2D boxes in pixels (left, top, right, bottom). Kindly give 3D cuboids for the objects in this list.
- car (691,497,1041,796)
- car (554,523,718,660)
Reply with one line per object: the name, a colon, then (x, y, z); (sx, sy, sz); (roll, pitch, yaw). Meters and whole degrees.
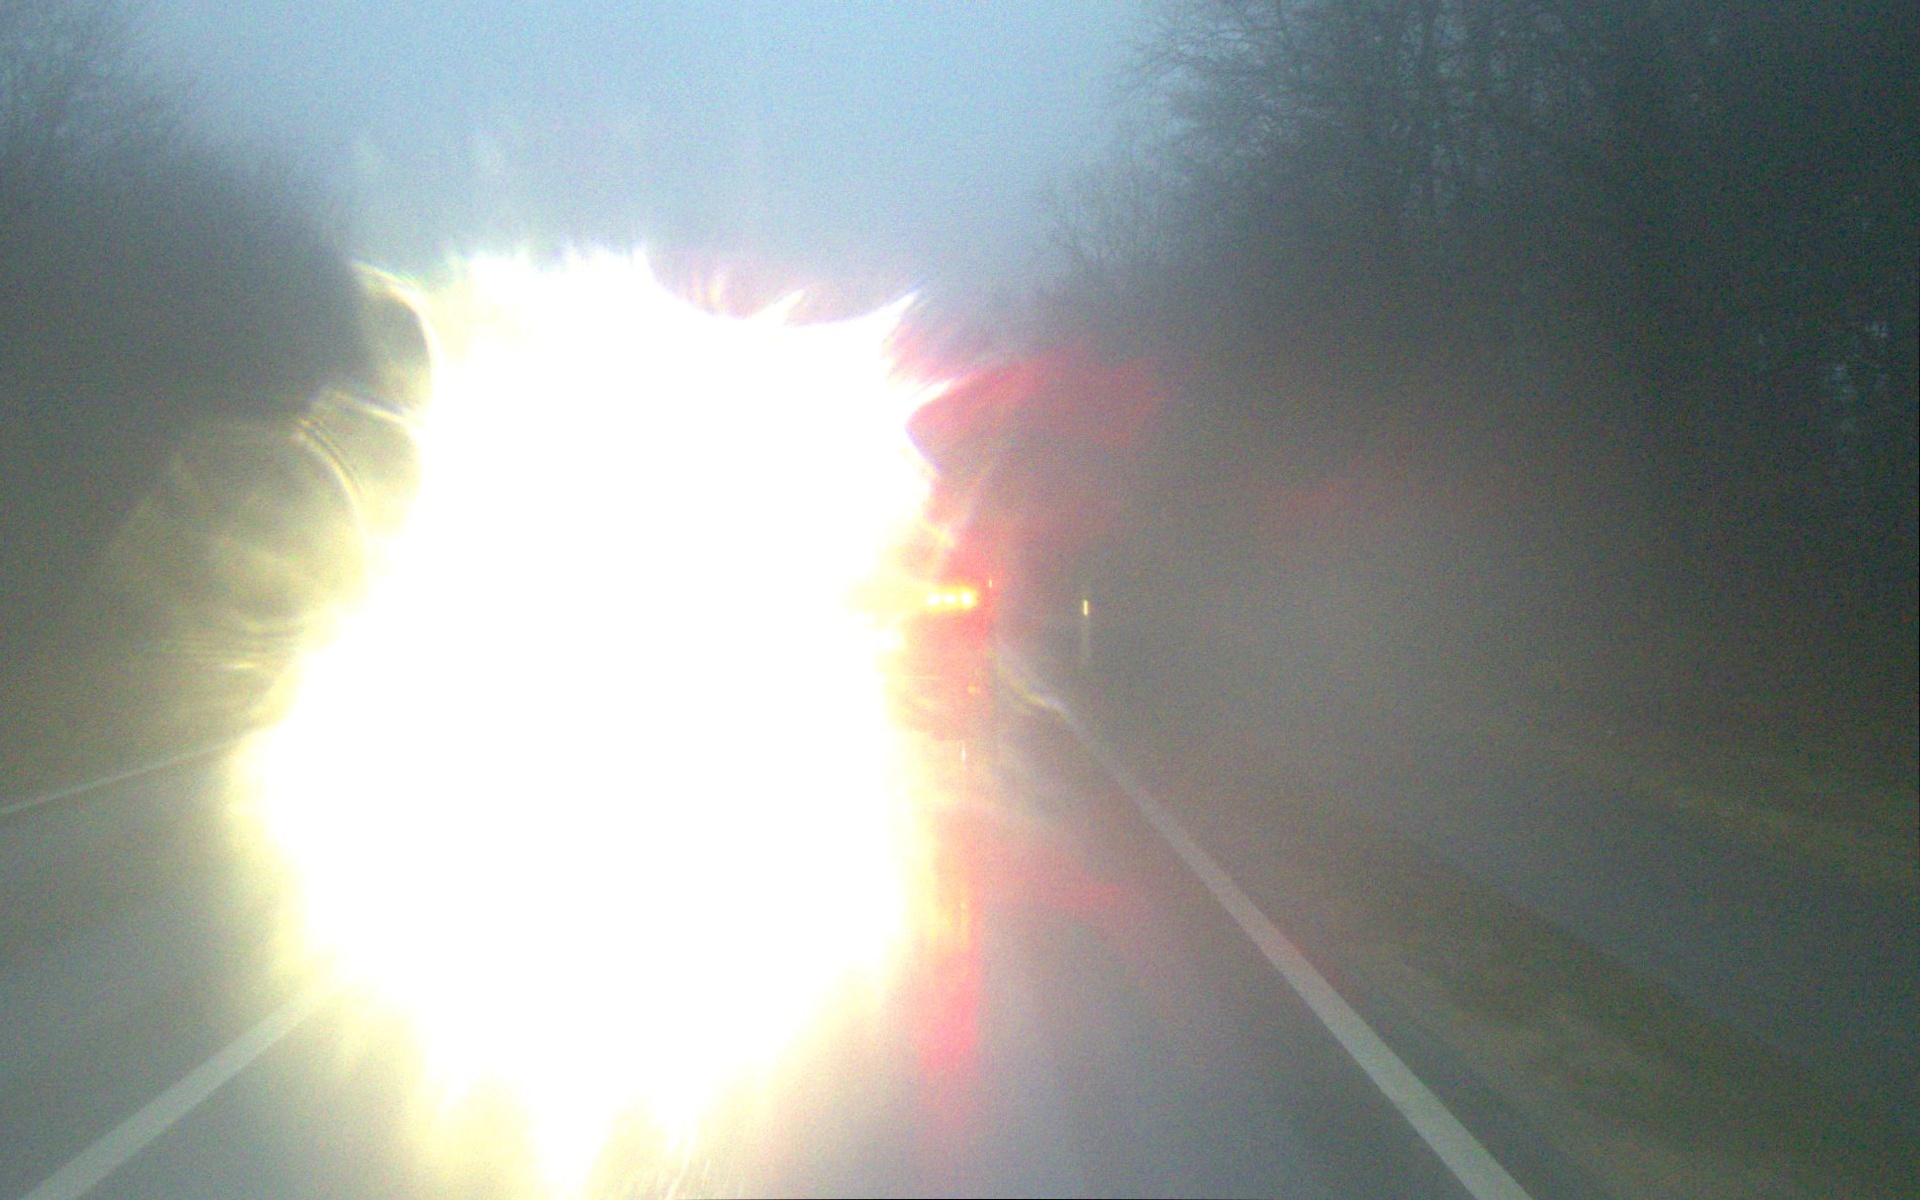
car: (-0.653, 0.262, 24.376); (2.198, 1.871, 4.827); (1, 1, -1)
car: (-4.035, -0.149, 43.319); (1.694, 1.555, 4.129); (1, 2, -1)
